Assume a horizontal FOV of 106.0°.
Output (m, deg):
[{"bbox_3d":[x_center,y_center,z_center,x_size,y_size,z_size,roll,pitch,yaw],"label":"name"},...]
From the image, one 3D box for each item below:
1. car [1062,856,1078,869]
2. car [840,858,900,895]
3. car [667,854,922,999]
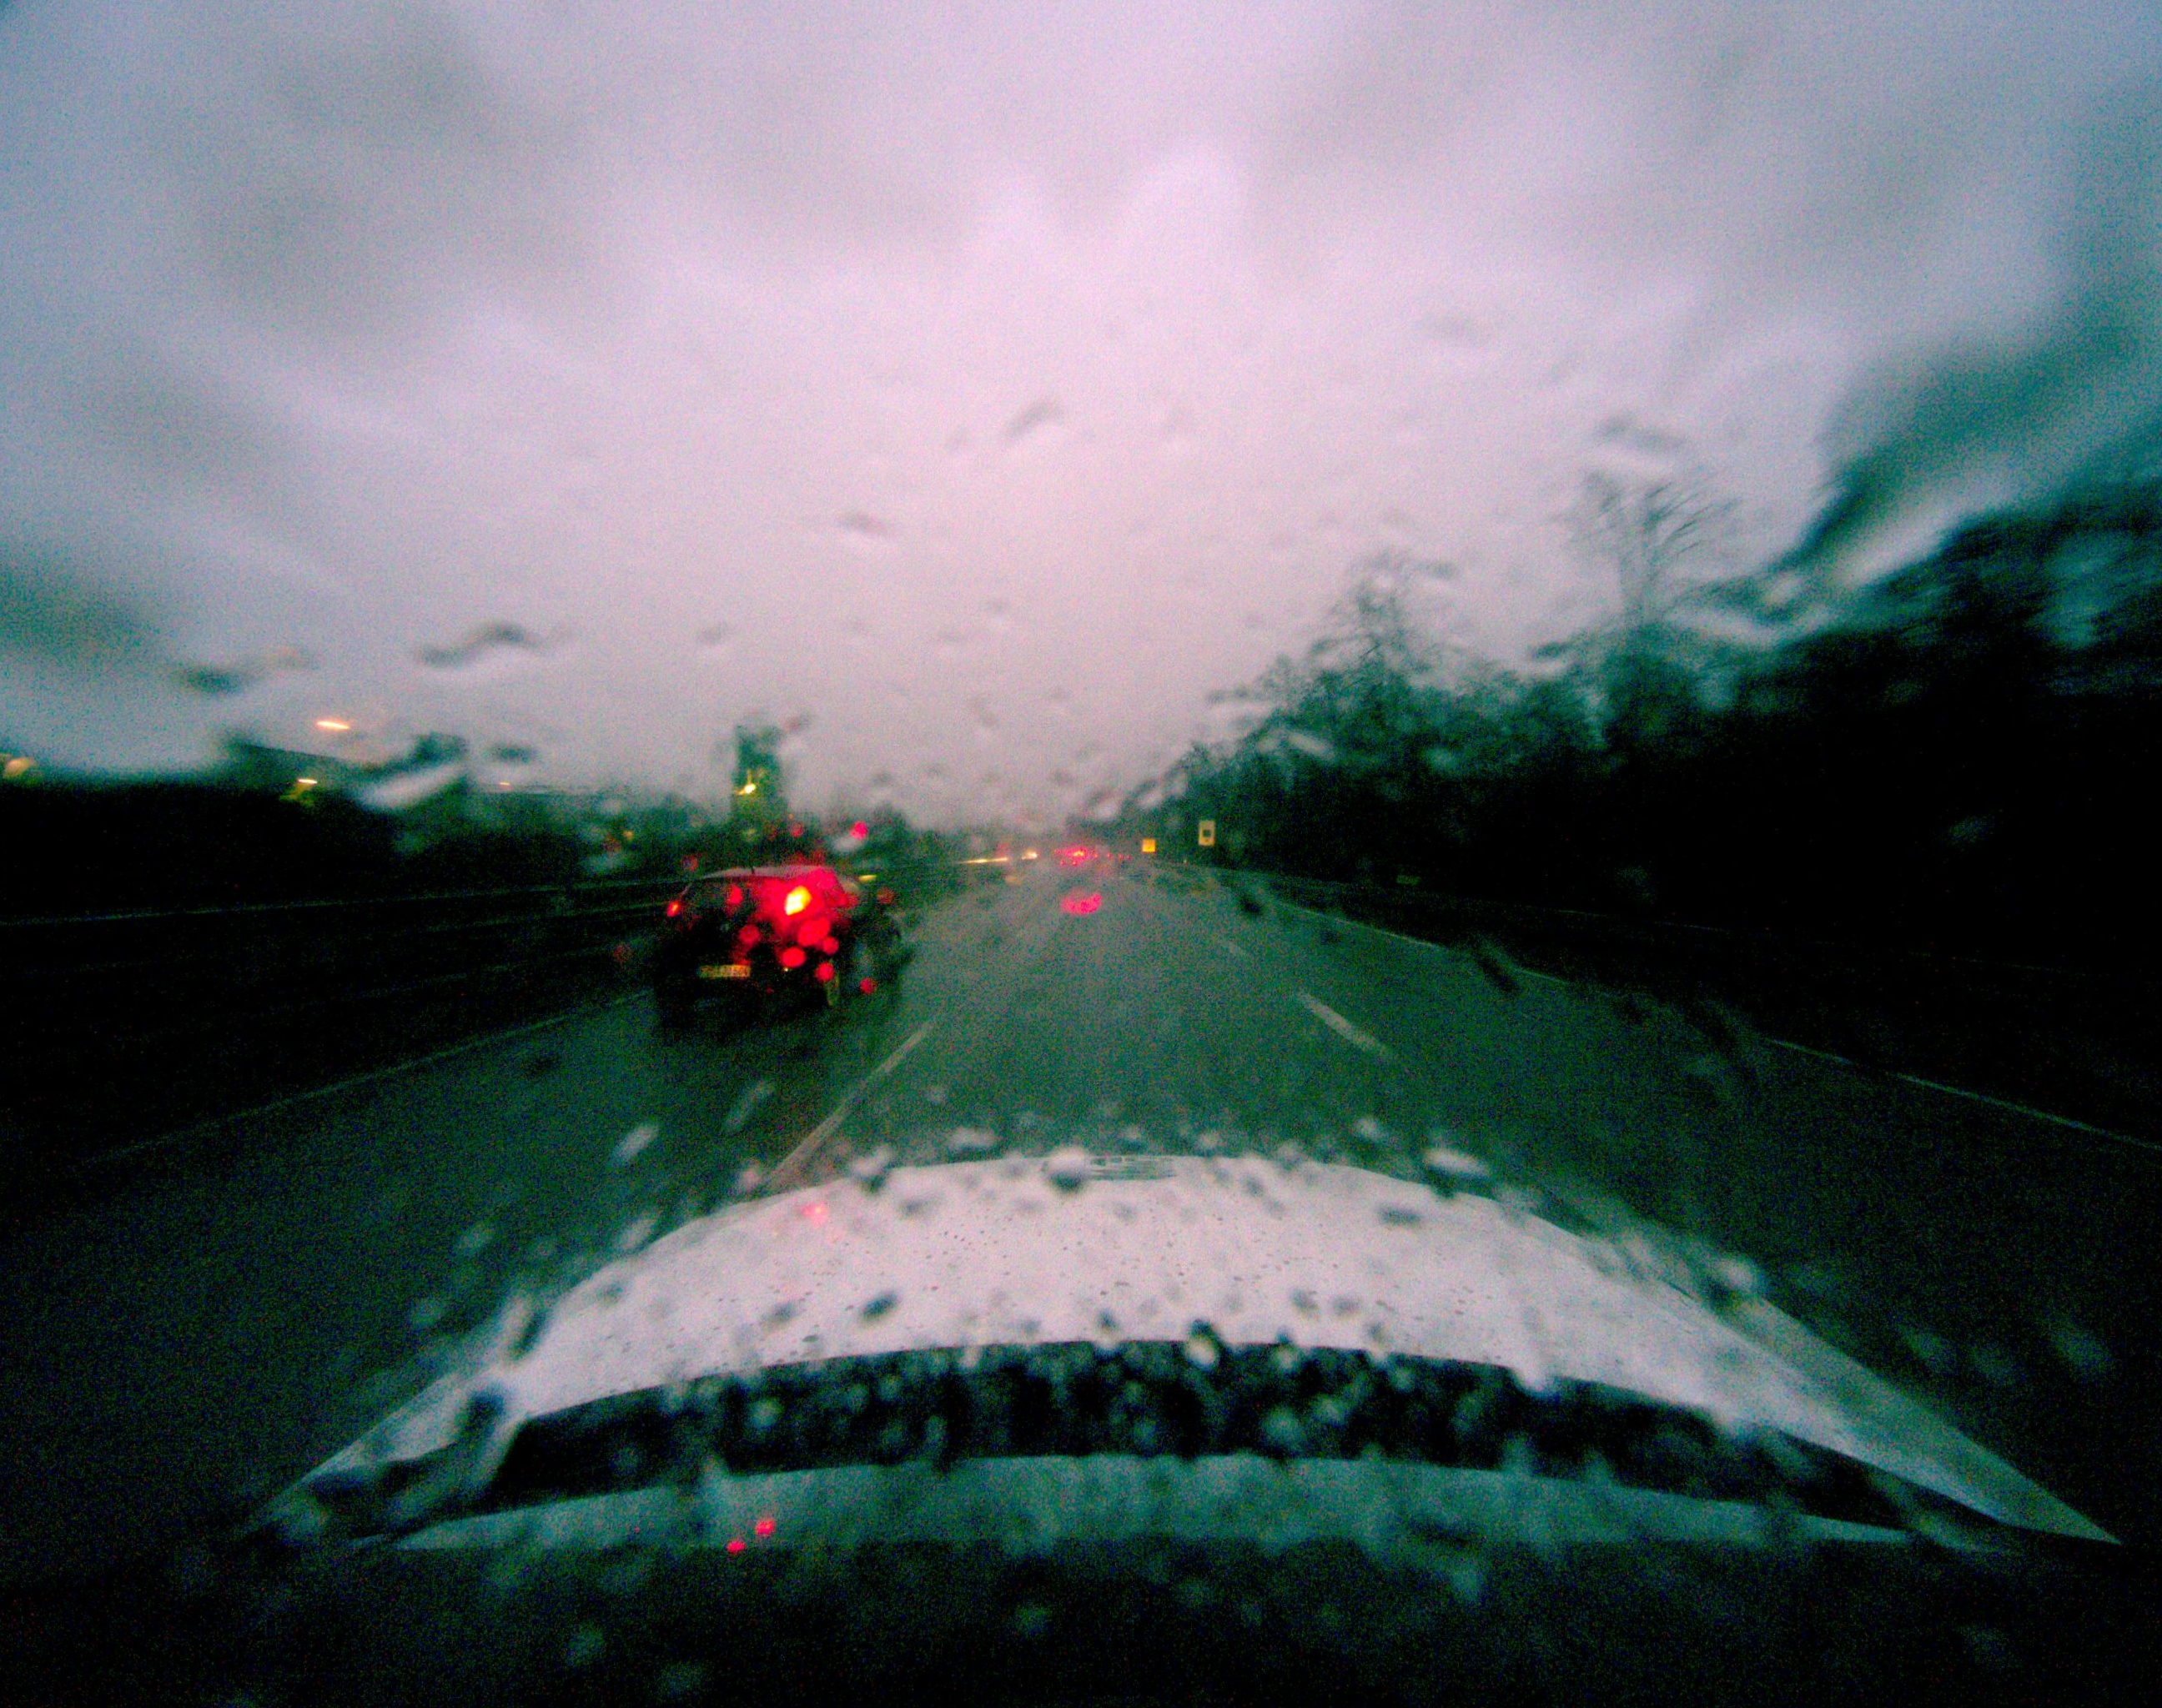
[{"bbox_3d":[-1.118,0.849,83.079,1.410,1.317,3.084,1,0,2],"label":"car"},{"bbox_3d":[-10.181,1.065,39.579,1.734,1.640,4.002,-1,0,2],"label":"car"},{"bbox_3d":[-3.184,0.727,9.955,1.620,1.392,4.000,1,-1,1],"label":"car"}]
